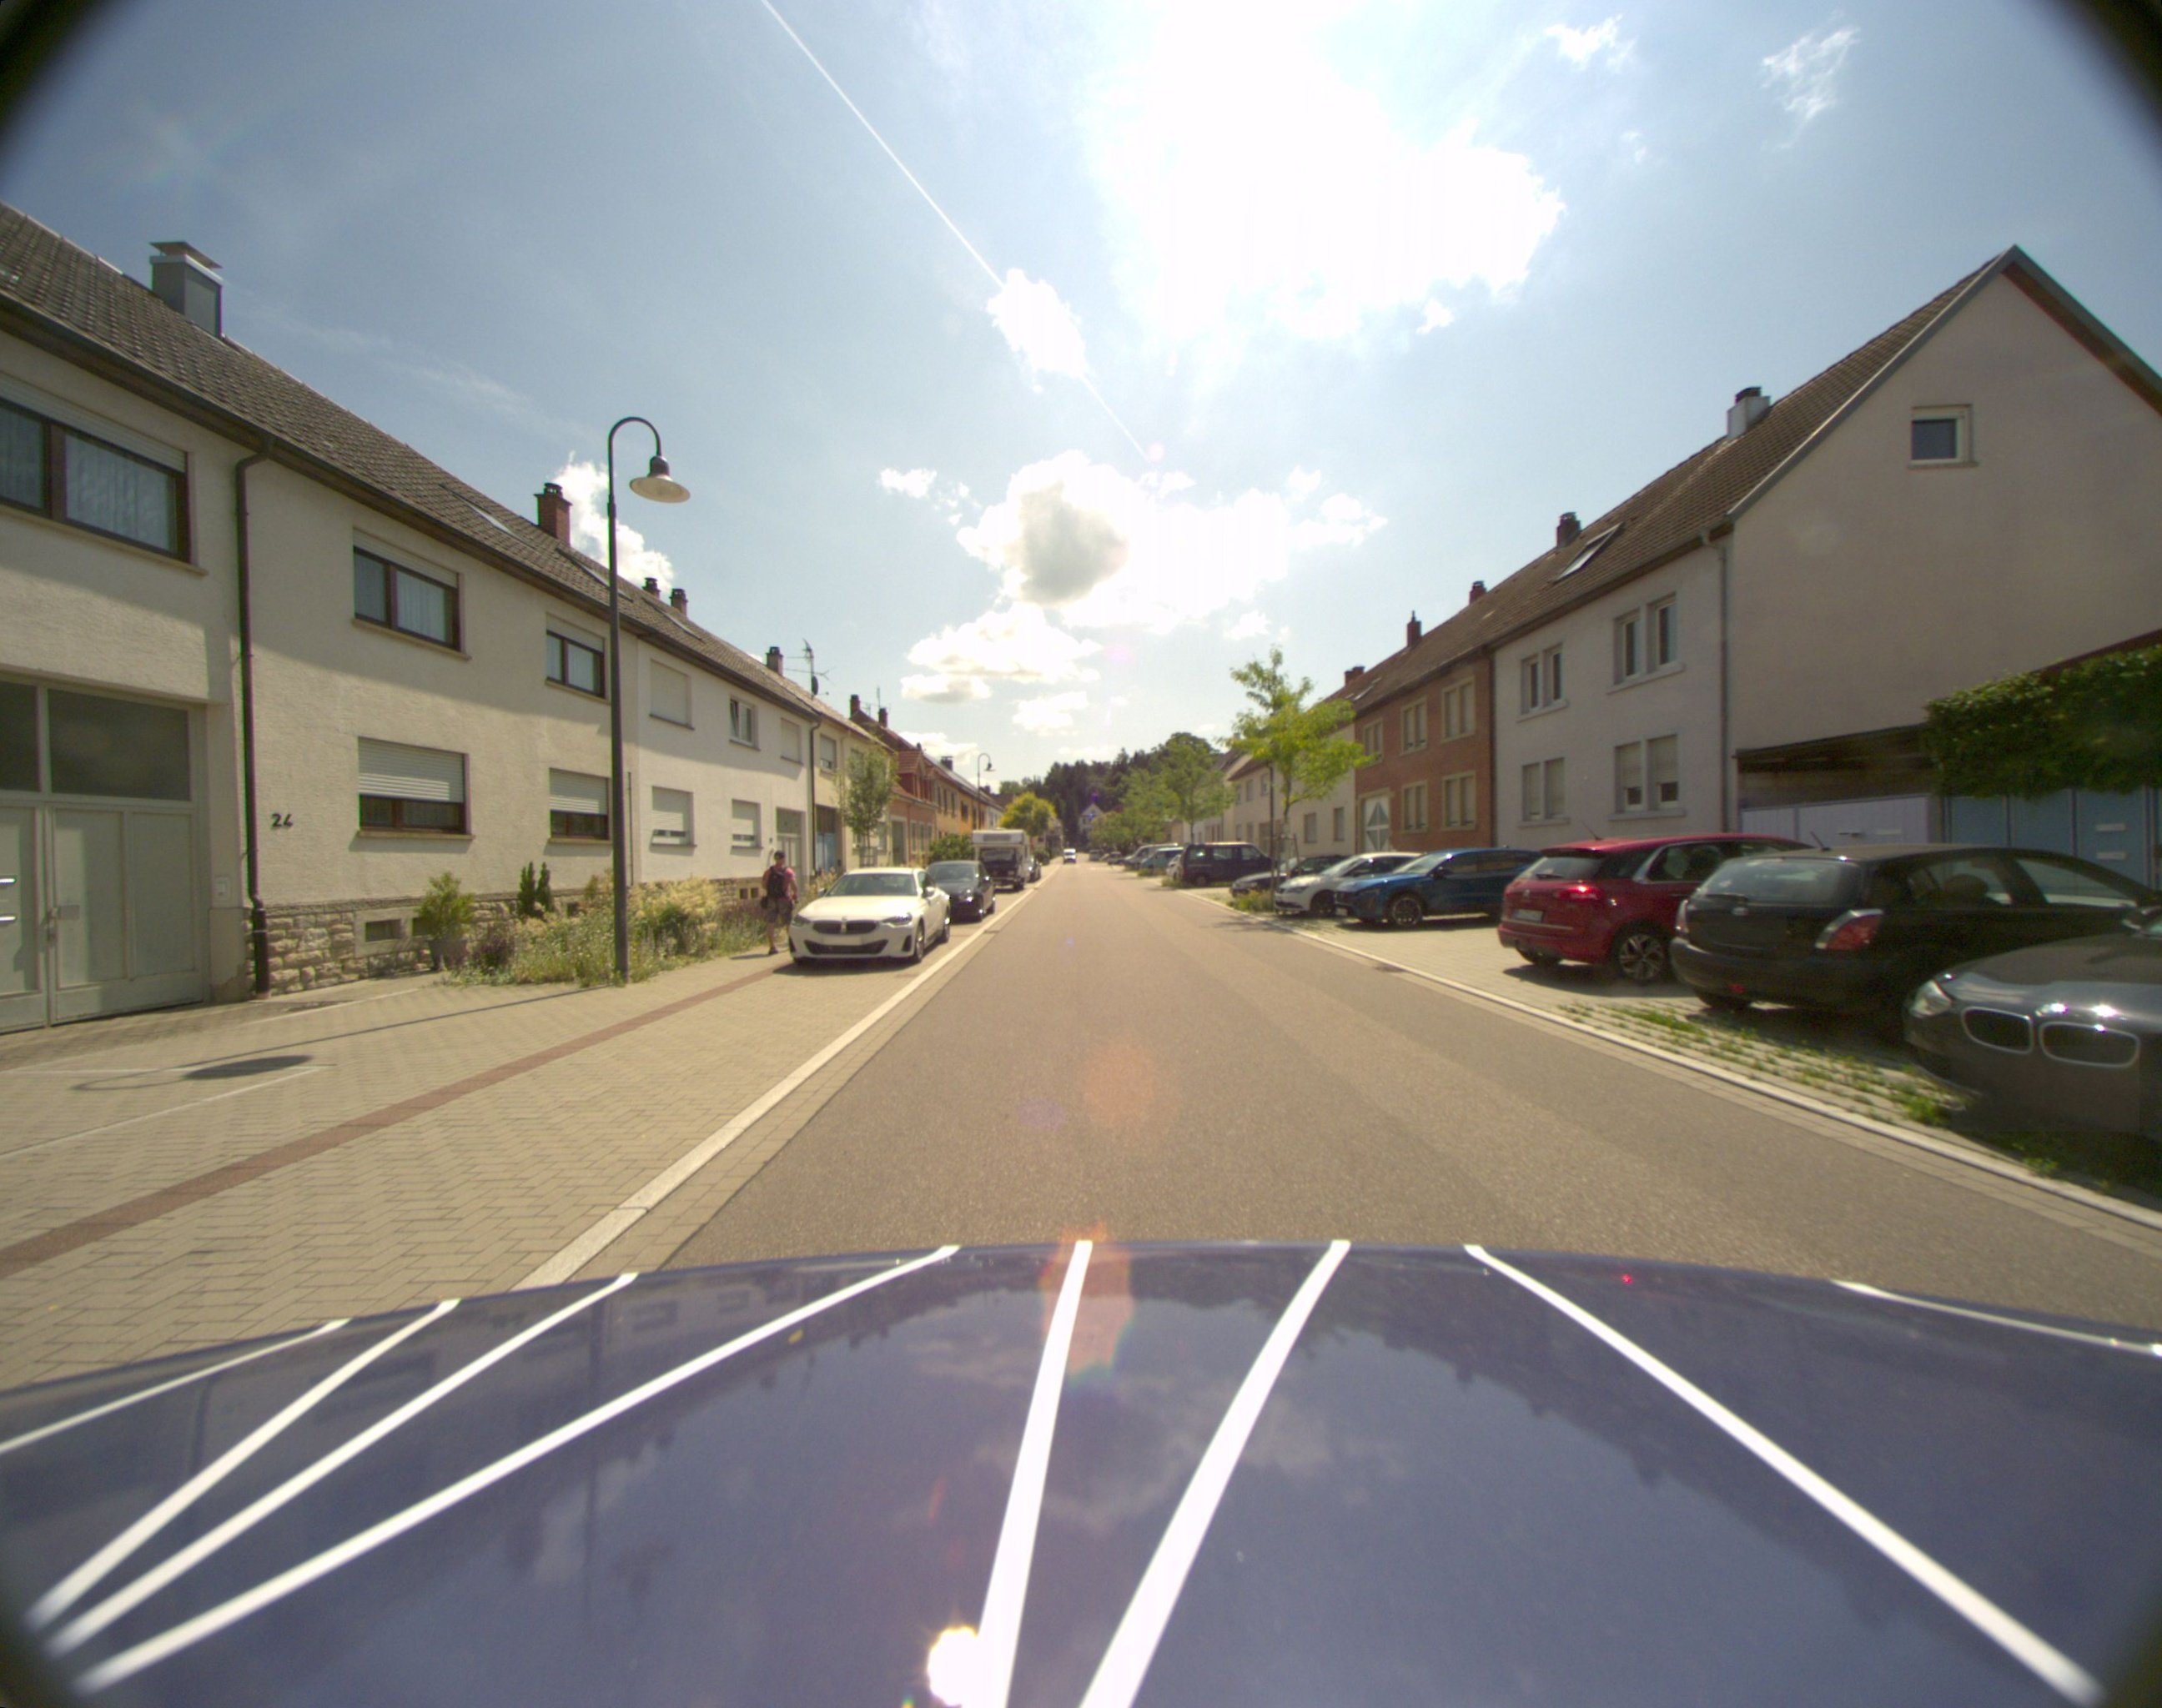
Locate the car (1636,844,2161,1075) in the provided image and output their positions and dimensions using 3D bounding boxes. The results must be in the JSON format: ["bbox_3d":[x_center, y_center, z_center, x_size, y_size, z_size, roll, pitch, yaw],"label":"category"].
[{"bbox_3d":[7.056,0.720,6.201,3.802,1.451,1.755,-2,1,-3],"label":"car"}]

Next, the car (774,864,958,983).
[{"bbox_3d":[-3.269,0.972,12.519,1.837,1.457,4.518,-2,1,-2],"label":"car"}]

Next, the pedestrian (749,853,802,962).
[{"bbox_3d":[-5.063,0.870,12.613,0.558,1.739,0.673,-1,2,1],"label":"pedestrian"}]

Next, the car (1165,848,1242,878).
[{"bbox_3d":[6.670,0.464,41.716,3.925,1.480,1.772,-2,1,2],"label":"car"}]

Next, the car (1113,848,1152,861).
[{"bbox_3d":[6.363,0.048,93.760,4.598,1.508,1.901,-2,1,0],"label":"car"}]

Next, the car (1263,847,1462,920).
[{"bbox_3d":[6.618,0.658,18.141,4.065,1.469,1.775,-2,1,-3],"label":"car"}]

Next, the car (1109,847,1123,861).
[{"bbox_3d":[4.858,0.010,105.644,1.844,1.737,4.686,-3,0,1],"label":"car"}]

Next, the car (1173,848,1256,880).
[{"bbox_3d":[6.850,0.505,39.259,3.925,1.480,1.772,-2,1,2],"label":"car"}]

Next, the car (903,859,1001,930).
[{"bbox_3d":[-3.157,0.940,19.398,1.771,1.521,4.006,-2,1,0],"label":"car"}]

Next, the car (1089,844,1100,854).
[{"bbox_3d":[2.598,-1.017,149.881,1.999,1.968,3.999,-1,1,-1],"label":"car"}]

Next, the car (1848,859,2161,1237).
[{"bbox_3d":[6.393,0.753,3.458,4.020,1.451,1.755,-2,1,0],"label":"car"}]

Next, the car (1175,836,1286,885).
[{"bbox_3d":[6.698,0.285,34.444,4.624,1.985,1.953,-2,1,2],"label":"car"}]

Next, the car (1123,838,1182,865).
[{"bbox_3d":[6.731,-0.211,71.967,5.180,2.275,2.156,-3,1,-2],"label":"car"}]

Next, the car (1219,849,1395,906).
[{"bbox_3d":[6.457,0.648,22.024,4.535,1.417,1.795,-2,1,0],"label":"car"}]

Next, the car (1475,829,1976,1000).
[{"bbox_3d":[7.207,0.620,8.833,4.264,1.602,1.842,-2,1,-1],"label":"car"}]

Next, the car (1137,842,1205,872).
[{"bbox_3d":[6.569,0.184,55.635,4.688,1.896,2.000,-3,1,0],"label":"car"}]

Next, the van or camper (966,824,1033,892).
[{"bbox_3d":[-3.587,0.166,34.635,2.479,2.793,5.789,0,0,0],"label":"van or camper"}]

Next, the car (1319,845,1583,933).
[{"bbox_3d":[7.285,0.645,15.219,4.416,1.469,1.775,-2,1,-4],"label":"car"}]

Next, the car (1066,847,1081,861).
[{"bbox_3d":[-1.295,-0.025,128.167,2.489,2.306,5.598,-3,1,-1],"label":"car"}]

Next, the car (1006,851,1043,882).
[{"bbox_3d":[-3.300,0.705,44.963,1.771,1.695,4.324,-2,1,0],"label":"car"}]
